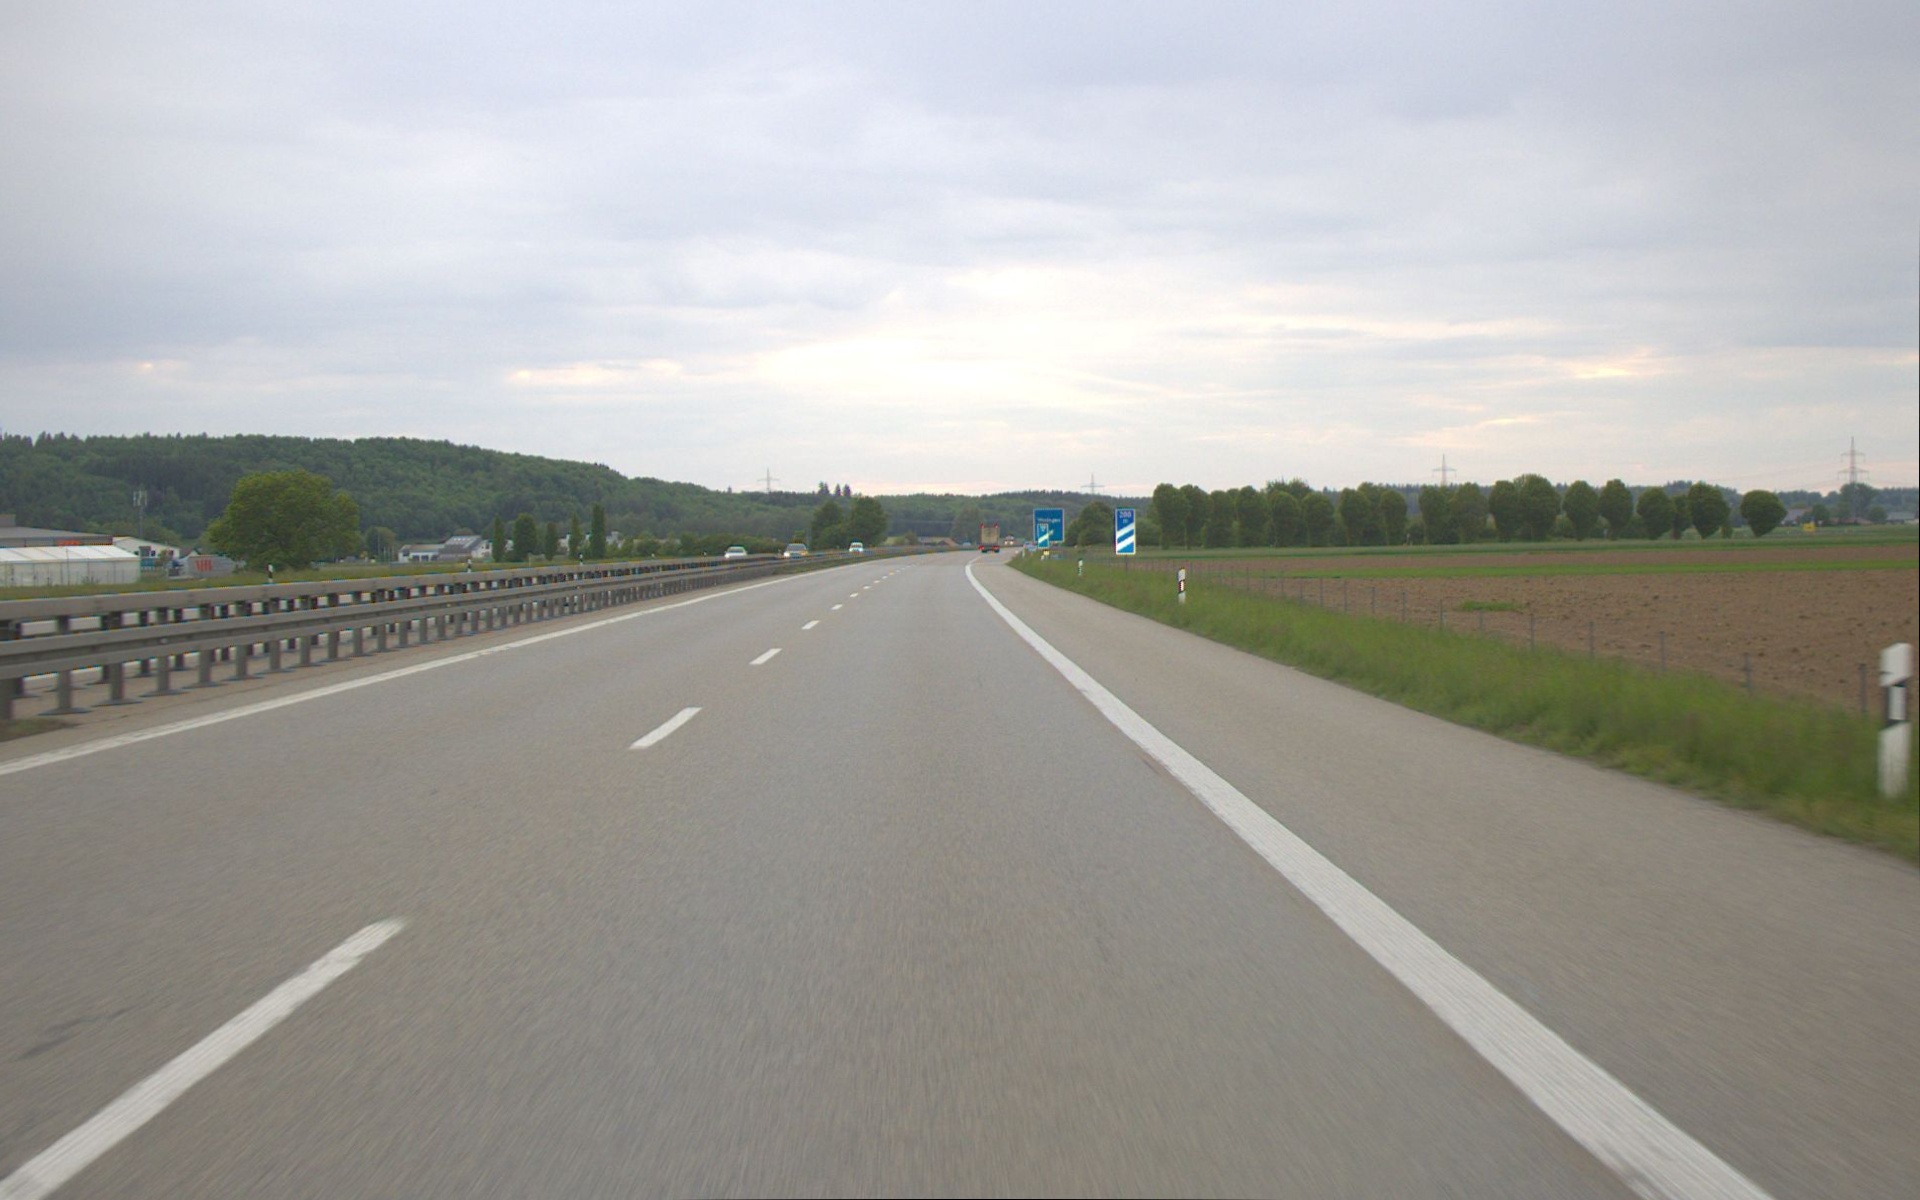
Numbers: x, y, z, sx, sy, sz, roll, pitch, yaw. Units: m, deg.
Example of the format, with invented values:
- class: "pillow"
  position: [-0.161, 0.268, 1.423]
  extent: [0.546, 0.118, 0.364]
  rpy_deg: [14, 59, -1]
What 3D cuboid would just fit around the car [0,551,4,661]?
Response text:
- class: "car"
  position: [-14.534, 0.107, 46.776]
  extent: [1.740, 1.569, 4.857]
  rpy_deg: [1, 1, -1]
